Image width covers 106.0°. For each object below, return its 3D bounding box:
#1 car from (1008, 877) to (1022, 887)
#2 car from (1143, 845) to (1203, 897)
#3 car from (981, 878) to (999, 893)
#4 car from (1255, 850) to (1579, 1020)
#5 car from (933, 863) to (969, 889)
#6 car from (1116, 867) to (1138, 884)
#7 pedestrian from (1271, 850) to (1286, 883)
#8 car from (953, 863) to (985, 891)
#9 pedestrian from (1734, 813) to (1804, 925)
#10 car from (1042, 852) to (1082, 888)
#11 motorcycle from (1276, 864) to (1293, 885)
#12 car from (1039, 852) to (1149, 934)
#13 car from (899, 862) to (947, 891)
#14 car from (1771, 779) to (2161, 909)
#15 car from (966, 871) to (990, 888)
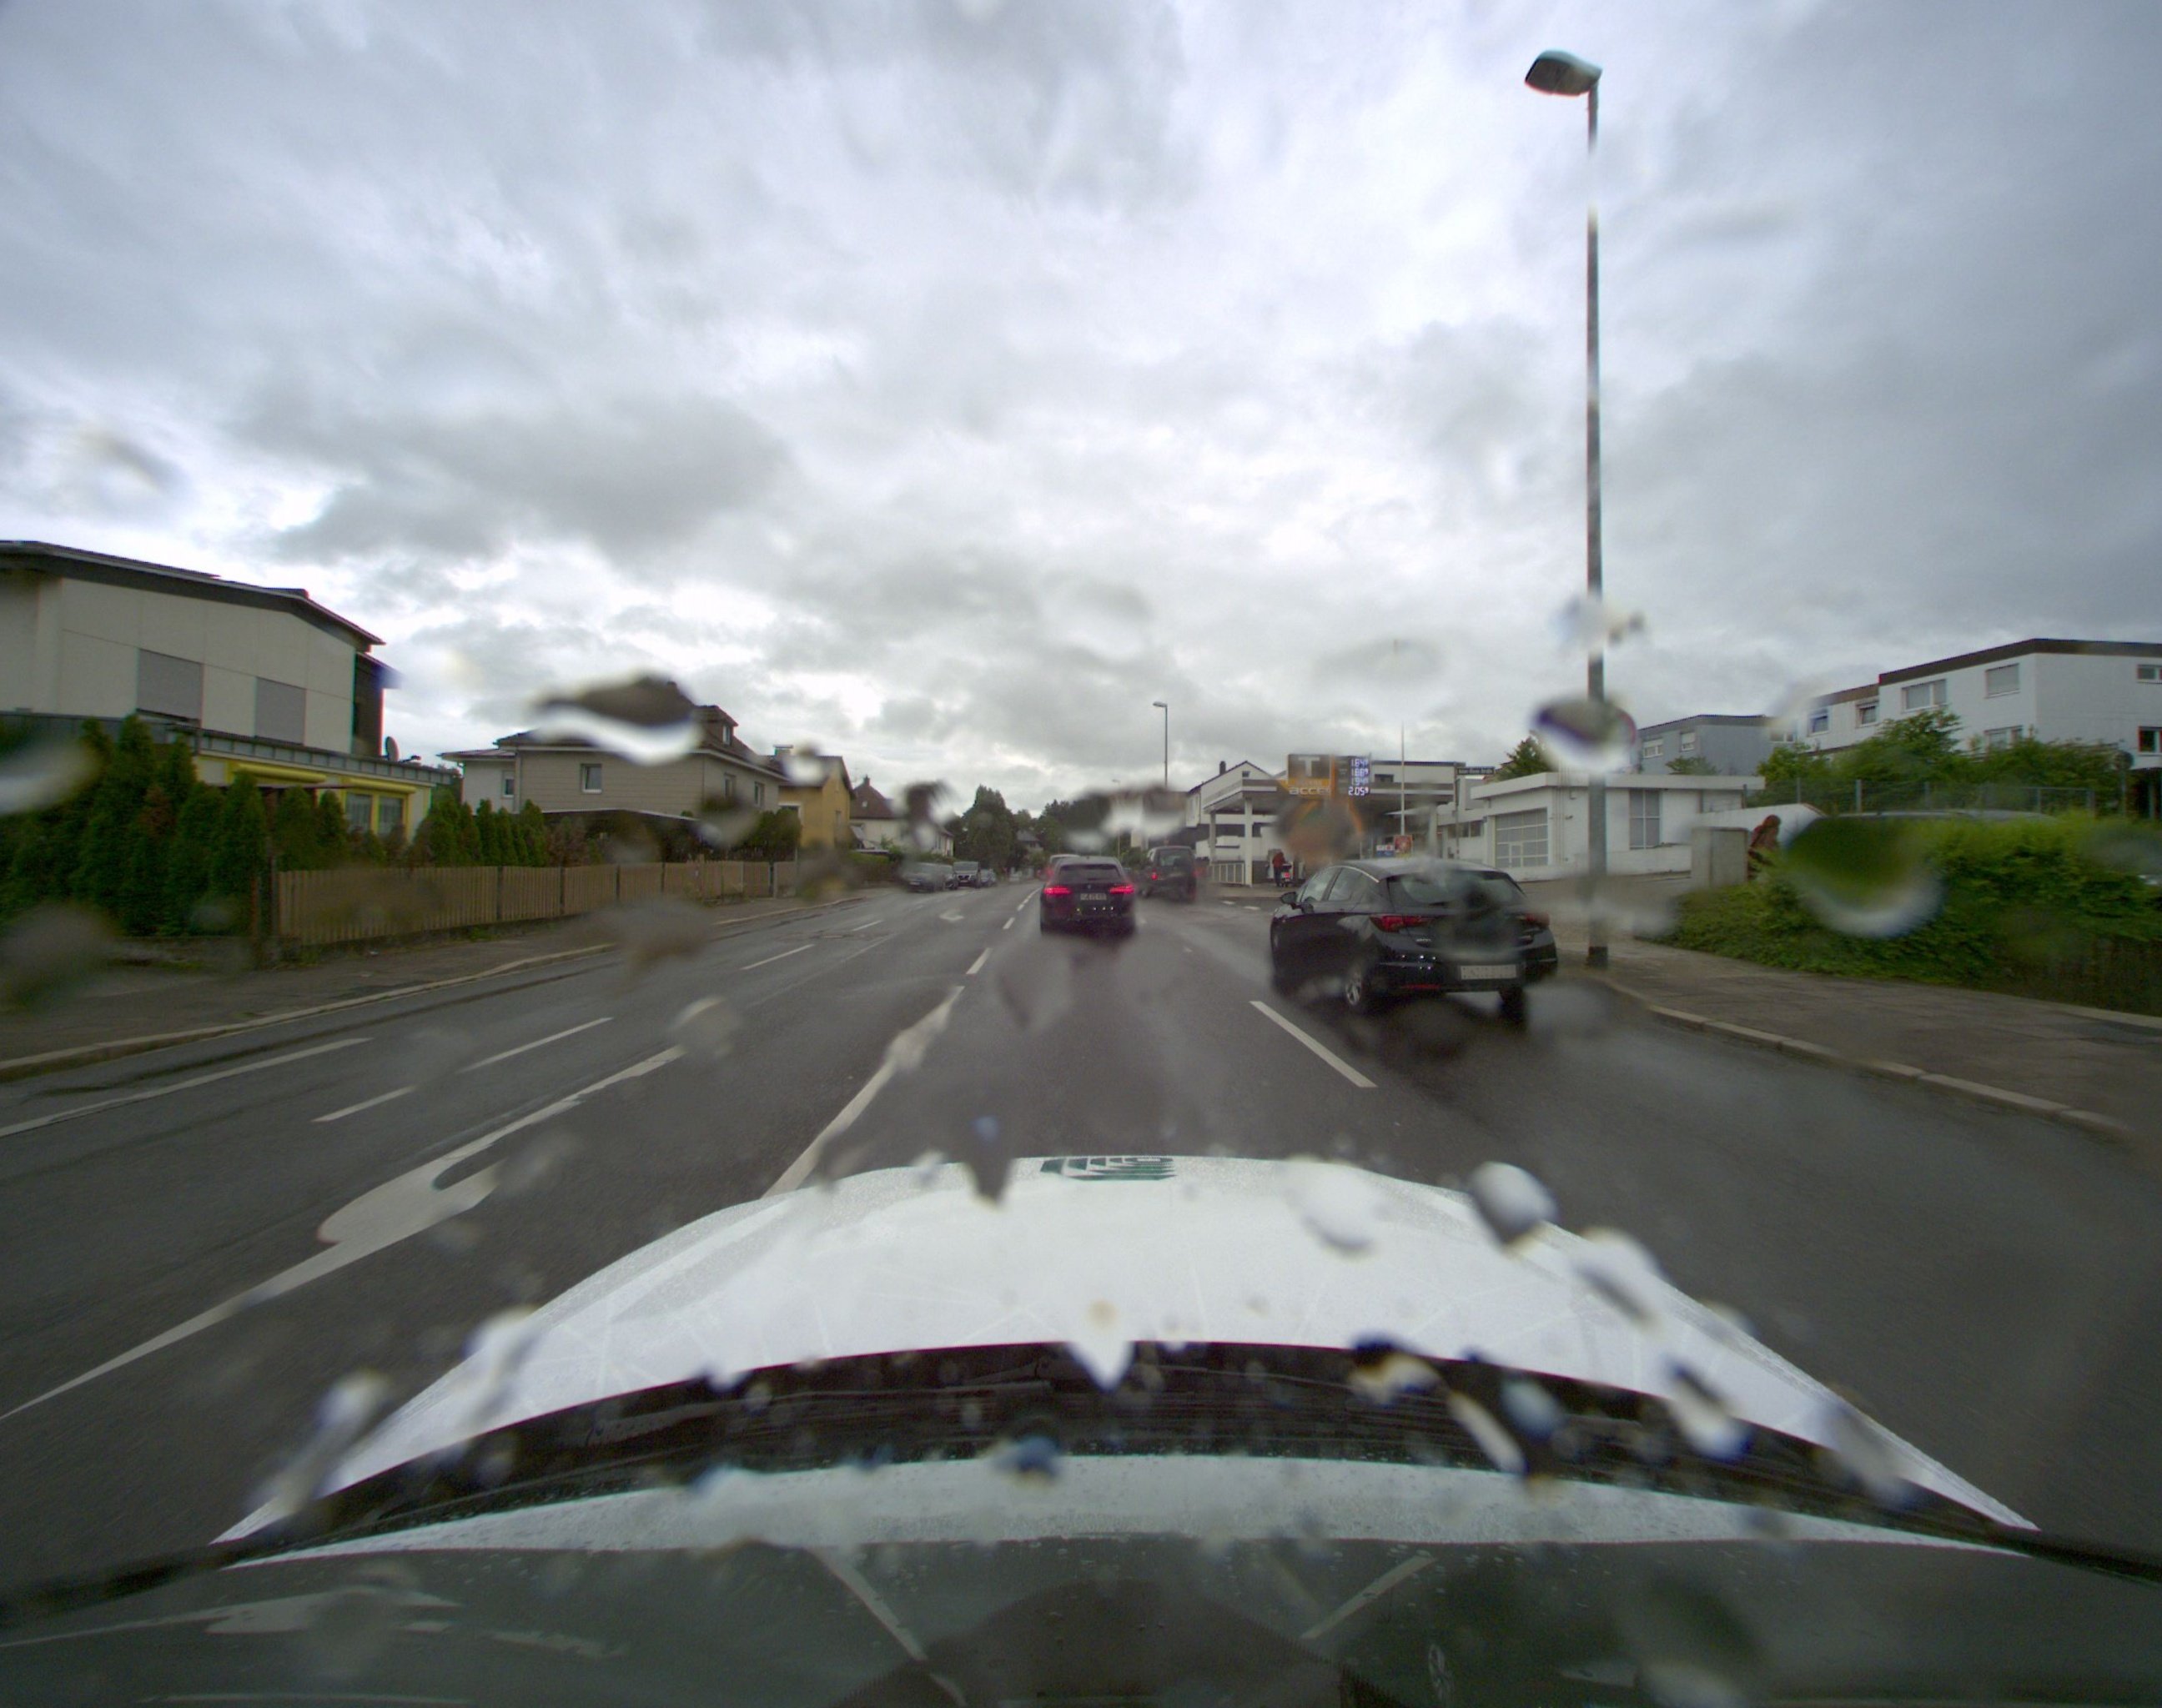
[{"bbox_3d":[-10.296,4.325,127.161,1.879,1.585,3.997,0,-2,-1],"label":"car"},{"bbox_3d":[3.220,0.639,29.249,1.831,1.767,4.001,0,-2,2],"label":"car"},{"bbox_3d":[-9.006,3.135,80.731,1.548,1.431,4.008,0,-2,-4],"label":"car"},{"bbox_3d":[3.328,0.701,8.997,1.753,1.449,3.995,0,0,-4],"label":"car"},{"bbox_3d":[-7.779,1.348,49.054,1.746,1.517,4.520,0,-2,-4],"label":"car"},{"bbox_3d":[4.255,2.027,76.276,1.696,1.510,4.530,0,-2,-2],"label":"car"},{"bbox_3d":[10.149,0.646,41.899,0.608,1.656,0.585,0,-2,-2],"label":"pedestrian"},{"bbox_3d":[-8.063,1.685,59.024,1.909,2.003,5.080,0,-2,-4],"label":"car"},{"bbox_3d":[12.600,0.277,14.936,0.711,2.014,0.616,0,-2,7],"label":"pedestrian"},{"bbox_3d":[-0.919,0.854,42.149,1.987,1.738,3.998,0,-2,0],"label":"car"},{"bbox_3d":[10.404,1.056,41.703,0.461,1.055,1.389,0,-2,-1],"label":"motorcycle"},{"bbox_3d":[0.211,0.774,16.706,1.988,1.484,3.998,0,-2,-1],"label":"car"},{"bbox_3d":[-8.172,1.205,42.483,1.745,1.440,4.127,0,-2,-1],"label":"car"},{"bbox_3d":[12.939,-0.080,11.967,1.809,1.527,3.986,-3,-2,-9],"label":"car"},{"bbox_3d":[-9.386,2.354,74.346,1.753,1.533,4.282,0,-2,-2],"label":"car"}]
